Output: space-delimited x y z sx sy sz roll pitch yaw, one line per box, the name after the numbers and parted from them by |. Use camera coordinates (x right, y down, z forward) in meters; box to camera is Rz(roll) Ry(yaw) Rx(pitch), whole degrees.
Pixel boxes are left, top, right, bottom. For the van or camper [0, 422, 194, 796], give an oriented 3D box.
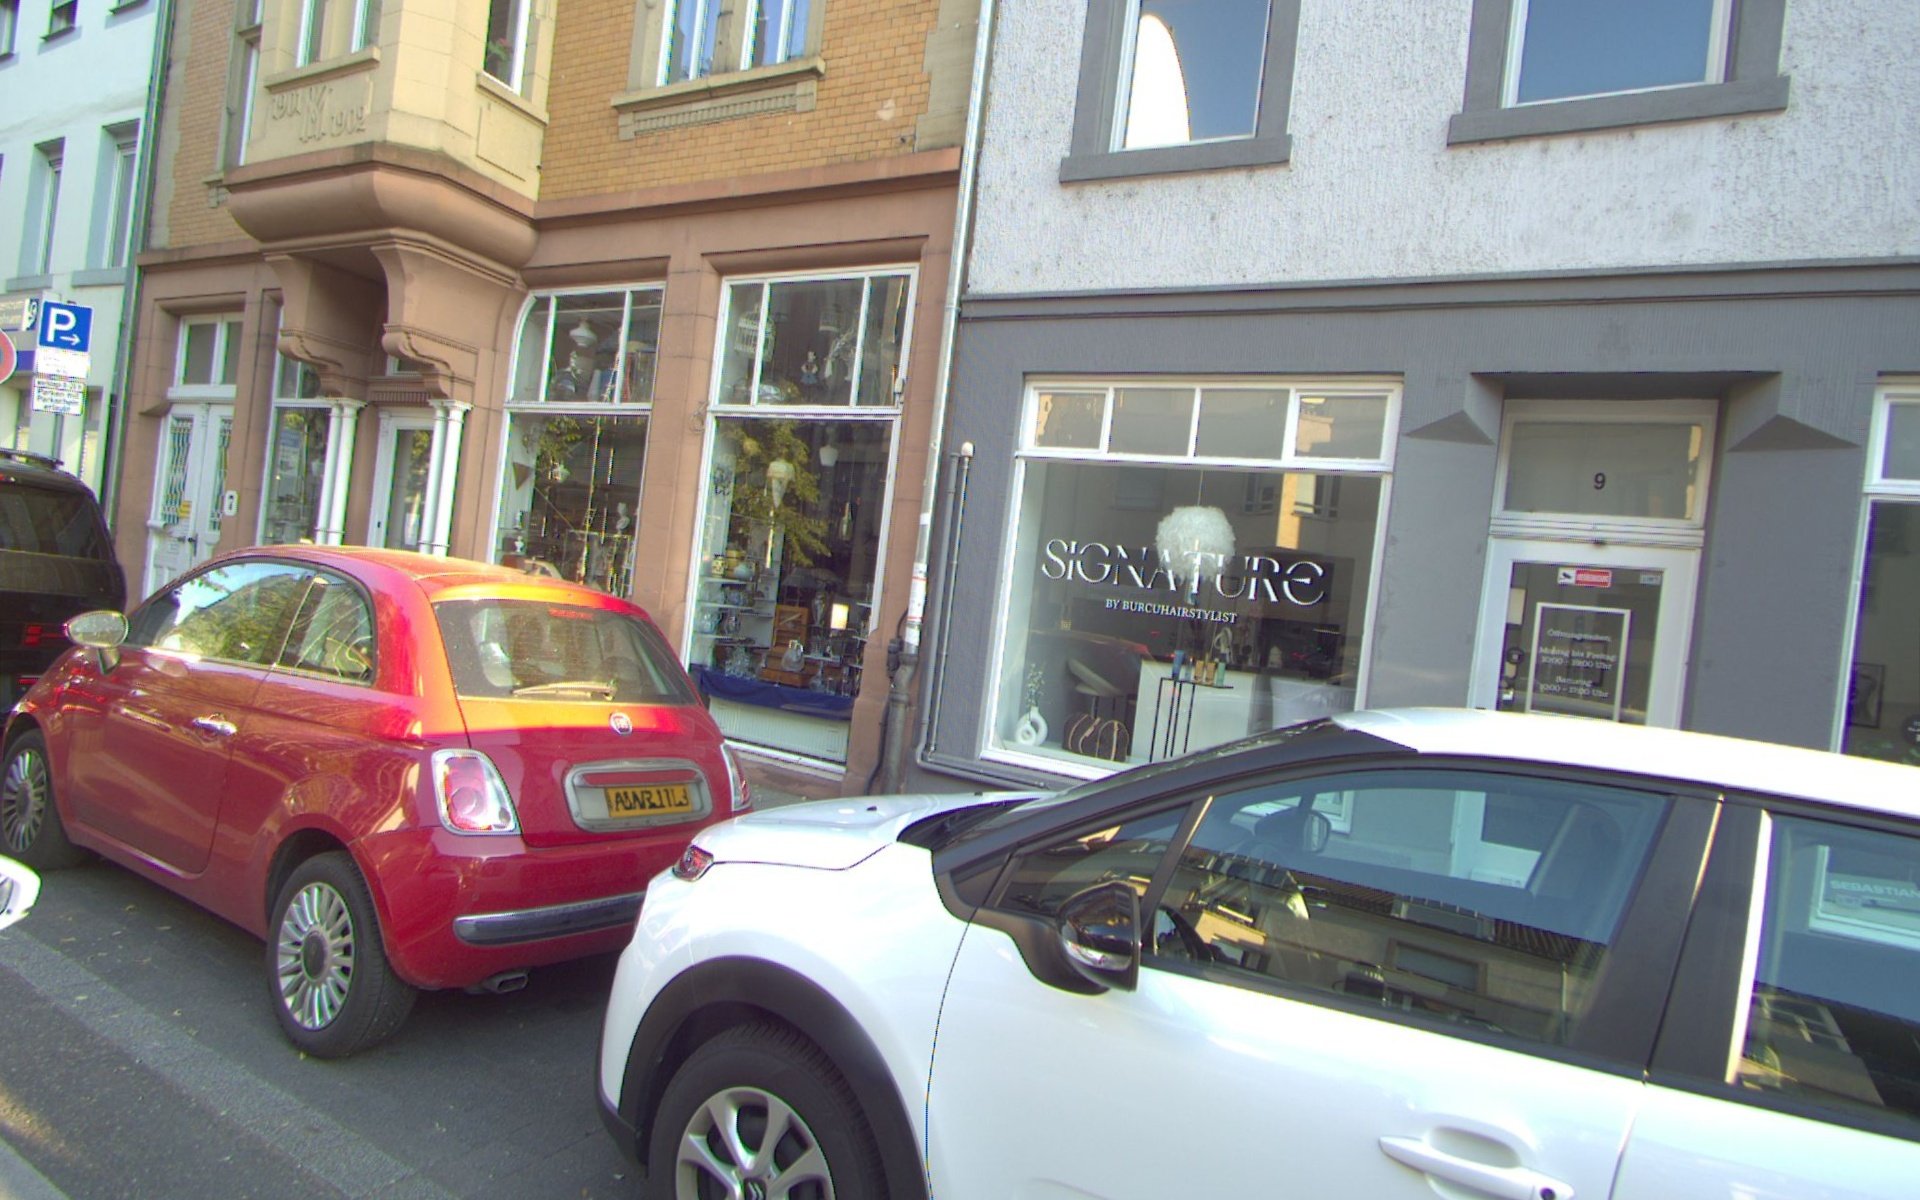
-6.752 -0.190 5.635 4.380 1.829 1.895 7 -1 24 | van or camper

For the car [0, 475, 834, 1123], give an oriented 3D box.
-2.409 0.484 4.150 3.364 1.588 1.529 7 -1 30 | car

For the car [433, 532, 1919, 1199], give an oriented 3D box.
0.900 0.893 2.190 3.868 1.591 1.666 6 -2 30 | car
